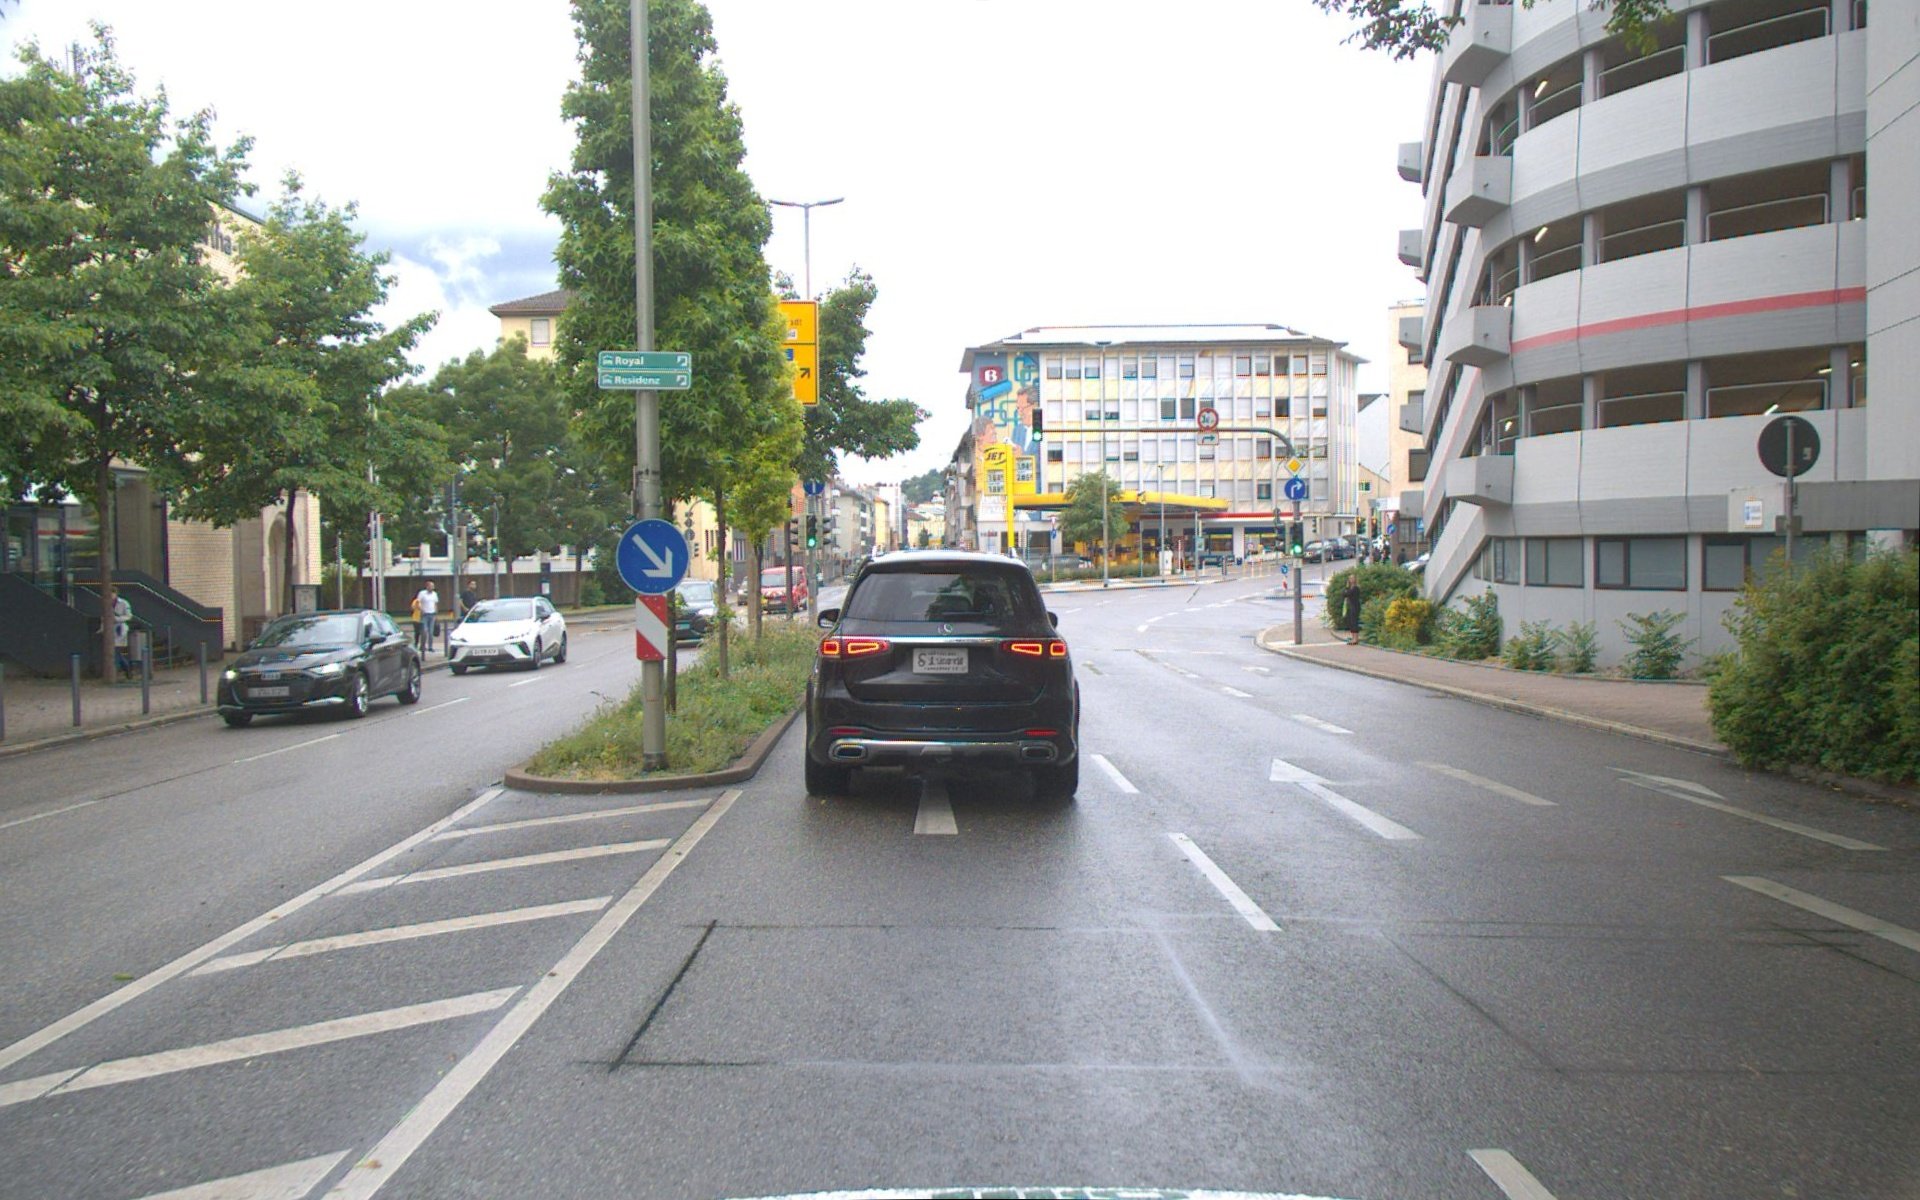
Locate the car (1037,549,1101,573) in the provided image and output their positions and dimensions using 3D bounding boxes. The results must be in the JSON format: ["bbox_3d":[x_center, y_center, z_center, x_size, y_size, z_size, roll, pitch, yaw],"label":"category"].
[{"bbox_3d":[6.853,-2.441,104.344,1.724,1.400,3.934,-2,1,-44],"label":"car"}]

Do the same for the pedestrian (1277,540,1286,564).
[{"bbox_3d":[22.359,-3.324,114.967,0.474,1.669,0.438,1,-1,27],"label":"pedestrian"}]

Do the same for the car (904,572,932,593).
[{"bbox_3d":[-3.304,-1.346,130.990,1.952,1.574,4.190,1,0,1],"label":"car"}]

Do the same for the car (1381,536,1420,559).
[{"bbox_3d":[35.464,-4.215,133.089,1.958,1.735,3.990,-1,1,32],"label":"car"}]

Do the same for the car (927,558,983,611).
[{"bbox_3d":[-0.206,-0.523,60.391,1.953,1.832,3.999,1,0,-1],"label":"car"}]

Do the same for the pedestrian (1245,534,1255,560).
[{"bbox_3d":[19.808,-3.613,112.897,0.515,1.757,0.689,0,1,26],"label":"pedestrian"}]

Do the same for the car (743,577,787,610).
[{"bbox_3d":[-9.926,-0.352,84.516,1.809,1.454,4.434,-3,2,-2],"label":"car"}]

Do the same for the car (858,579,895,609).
[{"bbox_3d":[-4.646,-0.316,92.382,1.953,1.642,4.188,1,0,-2],"label":"car"}]

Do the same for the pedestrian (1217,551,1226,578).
[{"bbox_3d":[14.123,-1.923,89.198,0.388,1.424,0.446,1,-1,0],"label":"pedestrian"}]

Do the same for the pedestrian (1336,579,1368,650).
[{"bbox_3d":[9.800,0.361,41.321,0.634,1.740,0.470,0,-1,35],"label":"pedestrian"}]

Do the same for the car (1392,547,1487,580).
[{"bbox_3d":[23.143,-1.739,79.980,4.095,1.464,1.860,-1,1,5],"label":"car"}]

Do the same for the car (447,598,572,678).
[{"bbox_3d":[-9.596,0.770,35.547,1.698,1.494,4.228,-3,1,-4],"label":"car"}]

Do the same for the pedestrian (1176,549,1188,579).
[{"bbox_3d":[12.917,-2.097,96.143,0.560,1.727,0.631,1,-1,0],"label":"pedestrian"}]

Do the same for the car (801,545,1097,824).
[{"bbox_3d":[-0.104,0.580,13.058,1.953,1.832,3.999,1,0,-1],"label":"car"}]

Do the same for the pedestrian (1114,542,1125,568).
[{"bbox_3d":[10.826,-3.072,112.032,0.516,1.757,0.688,0,1,28],"label":"pedestrian"}]

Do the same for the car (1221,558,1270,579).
[{"bbox_3d":[21.419,-2.365,123.989,1.961,1.422,3.982,1,-1,37],"label":"car"}]

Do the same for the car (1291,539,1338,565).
[{"bbox_3d":[24.608,-3.321,114.758,1.958,1.735,3.990,-1,1,32],"label":"car"}]

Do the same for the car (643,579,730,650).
[{"bbox_3d":[-7.012,0.338,42.752,1.698,1.654,4.228,-3,1,-4],"label":"car"}]

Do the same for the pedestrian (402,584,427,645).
[{"bbox_3d":[-14.120,0.371,42.804,0.430,1.560,0.545,-1,1,-3],"label":"pedestrian"}]

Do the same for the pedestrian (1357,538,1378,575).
[{"bbox_3d":[23.818,-2.534,96.639,0.838,2.165,0.947,-2,1,-7],"label":"pedestrian"}]

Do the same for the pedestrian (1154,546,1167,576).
[{"bbox_3d":[11.827,-2.310,97.573,0.515,1.757,0.689,0,1,26],"label":"pedestrian"}]

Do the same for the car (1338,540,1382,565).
[{"bbox_3d":[29.856,-3.537,123.336,1.958,1.735,3.990,-1,1,32],"label":"car"}]

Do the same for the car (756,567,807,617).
[{"bbox_3d":[-7.301,-0.326,67.869,1.757,1.886,4.789,-3,1,-3],"label":"car"}]

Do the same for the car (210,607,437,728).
[{"bbox_3d":[-8.750,0.863,23.120,1.698,1.418,4.197,-3,0,-4],"label":"car"}]

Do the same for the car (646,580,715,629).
[{"bbox_3d":[-10.156,0.137,60.326,1.851,1.614,4.534,-3,1,-3],"label":"car"}]

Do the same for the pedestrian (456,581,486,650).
[{"bbox_3d":[-12.770,0.394,43.196,0.675,1.788,0.716,-1,1,-12],"label":"pedestrian"}]

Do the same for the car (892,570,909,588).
[{"bbox_3d":[-7.220,-2.549,201.461,1.953,2.049,3.999,1,0,0],"label":"car"}]

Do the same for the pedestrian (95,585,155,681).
[{"bbox_3d":[-15.098,0.596,29.925,0.630,1.695,1.017,1,-1,-7],"label":"pedestrian"}]

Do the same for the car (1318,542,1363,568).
[{"bbox_3d":[27.393,-3.242,119.077,1.958,1.735,3.990,-1,1,32],"label":"car"}]

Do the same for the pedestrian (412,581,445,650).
[{"bbox_3d":[-13.334,0.376,41.506,0.599,1.685,0.691,-1,1,-3],"label":"pedestrian"}]

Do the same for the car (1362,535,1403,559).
[{"bbox_3d":[32.845,-4.111,128.461,1.958,1.735,3.990,-1,1,32],"label":"car"}]
